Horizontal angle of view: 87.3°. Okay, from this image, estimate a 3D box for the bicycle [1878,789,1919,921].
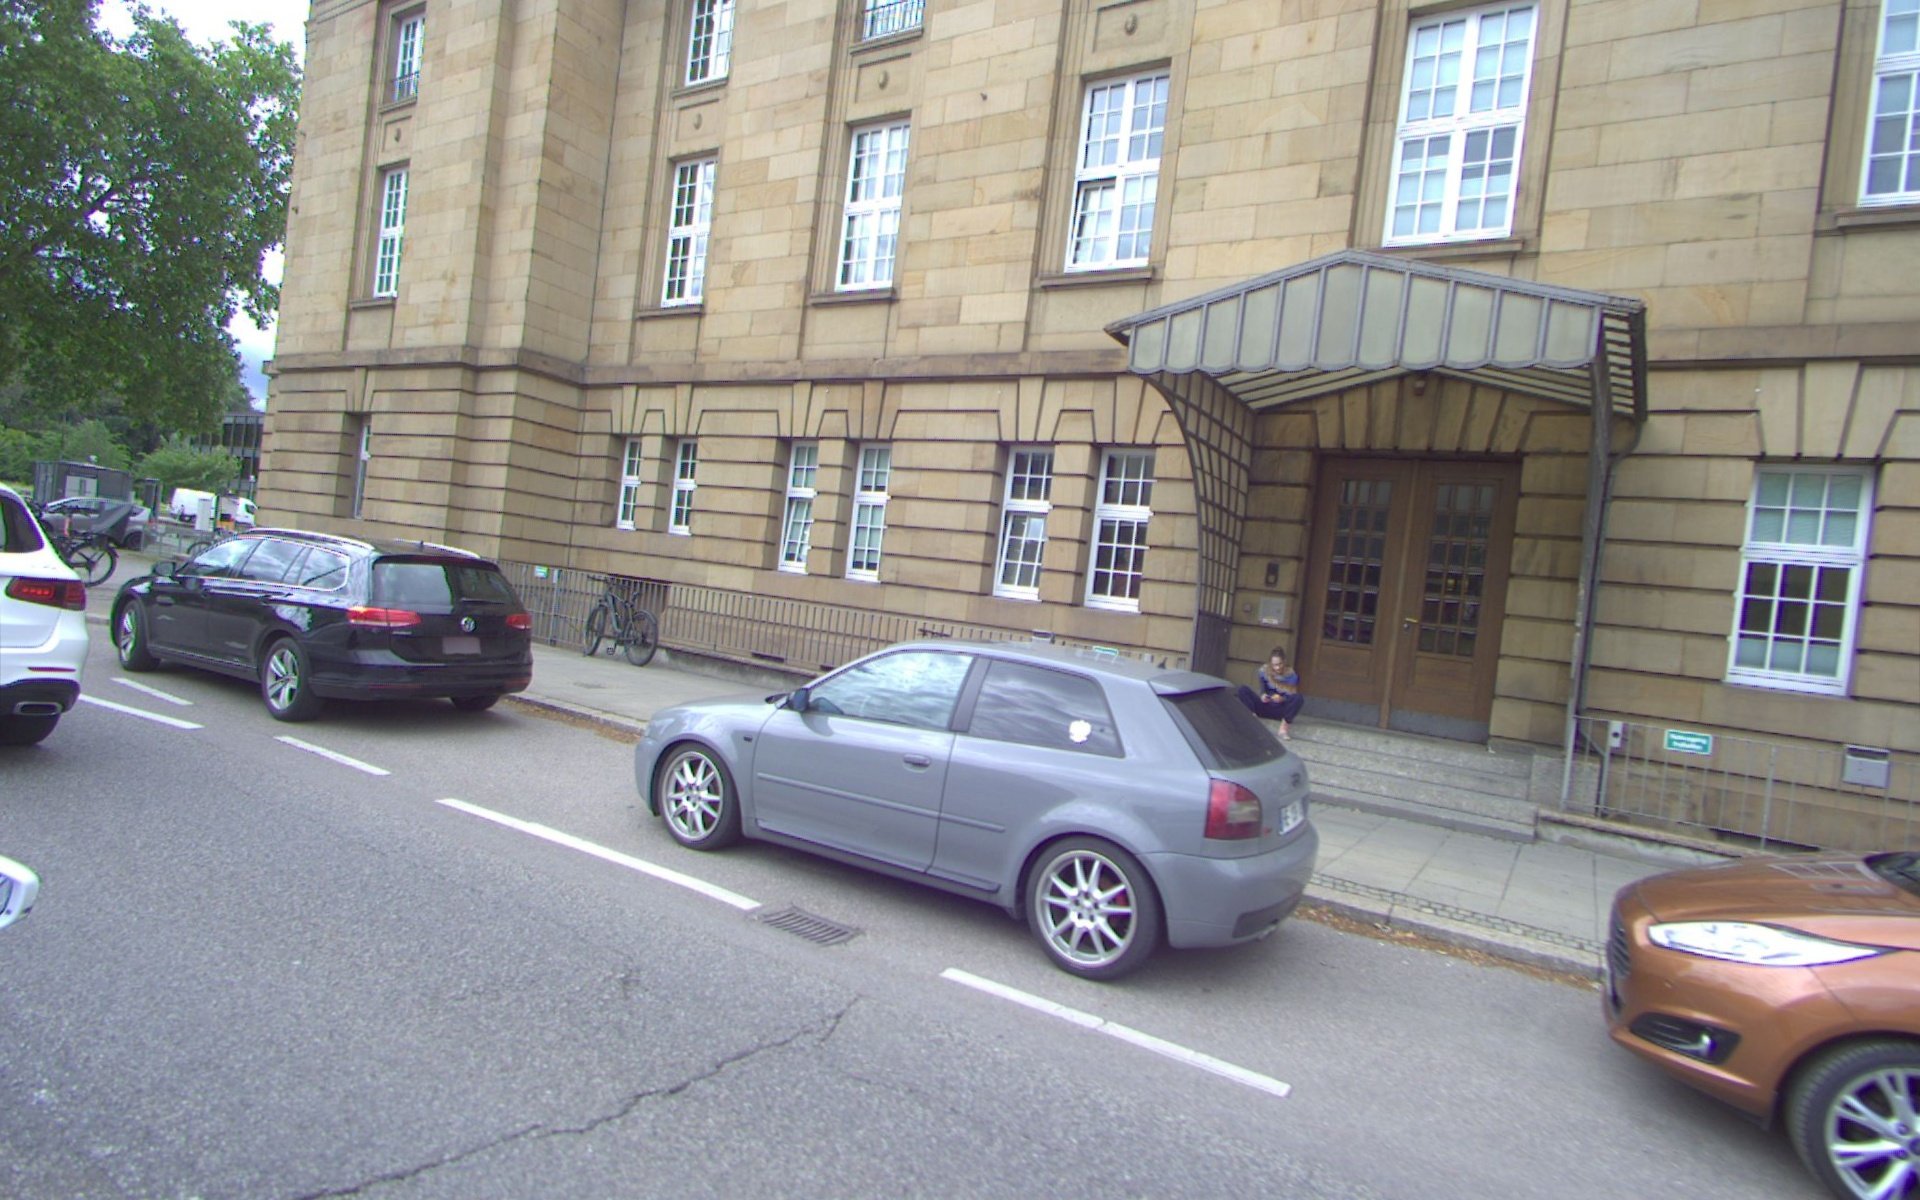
[{"bbox_3d":[7.290,1.839,6.547,1.848,0.854,0.306,6,-2,34],"label":"bicycle"}]

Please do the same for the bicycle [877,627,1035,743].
[{"bbox_3d":[-0.077,0.933,11.350,1.828,1.041,0.222,7,-1,32],"label":"bicycle"}]

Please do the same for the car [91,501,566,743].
[{"bbox_3d":[-5.789,0.098,9.102,4.252,1.505,1.790,7,2,30],"label":"car"}]

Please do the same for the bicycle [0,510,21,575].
[{"bbox_3d":[-17.362,-1.114,17.262,0.420,1.104,1.725,7,-2,45],"label":"bicycle"}]

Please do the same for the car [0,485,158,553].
[{"bbox_3d":[-29.321,-2.655,33.363,1.652,1.587,3.841,7,-1,32],"label":"car"}]

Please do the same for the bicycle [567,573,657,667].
[{"bbox_3d":[-5.010,0.271,14.437,1.514,1.198,0.276,6,1,35],"label":"bicycle"}]

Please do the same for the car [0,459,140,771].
[{"bbox_3d":[-7.154,-0.171,5.930,4.358,1.644,1.793,7,-1,26],"label":"car"}]

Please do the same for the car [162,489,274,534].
[{"bbox_3d":[-54.960,-6.532,74.689,2.363,2.288,6.112,7,-1,34],"label":"car"}]

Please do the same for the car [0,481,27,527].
[{"bbox_3d":[-39.350,-4.023,40.414,3.961,1.571,1.762,9,1,34],"label":"car"}]

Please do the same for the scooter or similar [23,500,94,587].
[{"bbox_3d":[-14.840,-0.939,16.549,1.131,1.293,0.562,7,-1,38],"label":"scooter or similar"}]

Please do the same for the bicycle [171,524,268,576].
[{"bbox_3d":[-19.802,-1.322,26.962,0.382,1.139,2.014,7,-1,32],"label":"bicycle"}]

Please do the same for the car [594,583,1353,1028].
[{"bbox_3d":[-0.036,0.861,5.783,3.930,1.444,1.710,7,1,31],"label":"car"}]

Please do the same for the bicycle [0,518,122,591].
[{"bbox_3d":[-14.177,-0.713,15.615,1.721,0.928,0.607,8,-1,-40],"label":"bicycle"}]

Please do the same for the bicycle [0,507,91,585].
[{"bbox_3d":[-14.571,-0.869,15.571,0.430,1.040,1.561,7,-2,43],"label":"bicycle"}]

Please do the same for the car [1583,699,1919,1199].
[{"bbox_3d":[4.270,1.347,3.138,3.794,1.473,1.617,7,1,32],"label":"car"}]

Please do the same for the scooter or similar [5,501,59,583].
[{"bbox_3d":[-15.121,-0.964,16.386,1.294,1.238,0.425,6,-2,43],"label":"scooter or similar"}]

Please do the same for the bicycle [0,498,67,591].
[{"bbox_3d":[-14.335,-0.881,14.876,1.536,1.271,0.537,9,-1,-39],"label":"bicycle"}]

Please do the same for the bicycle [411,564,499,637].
[{"bbox_3d":[-8.371,-0.005,16.628,1.930,1.010,0.240,6,0,32],"label":"bicycle"}]

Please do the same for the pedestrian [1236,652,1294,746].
[{"bbox_3d":[3.070,0.999,10.121,0.367,0.883,0.430,6,-2,33],"label":"pedestrian"}]

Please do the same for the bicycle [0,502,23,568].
[{"bbox_3d":[-16.977,-1.215,16.877,0.376,1.104,1.725,7,-2,45],"label":"bicycle"}]
